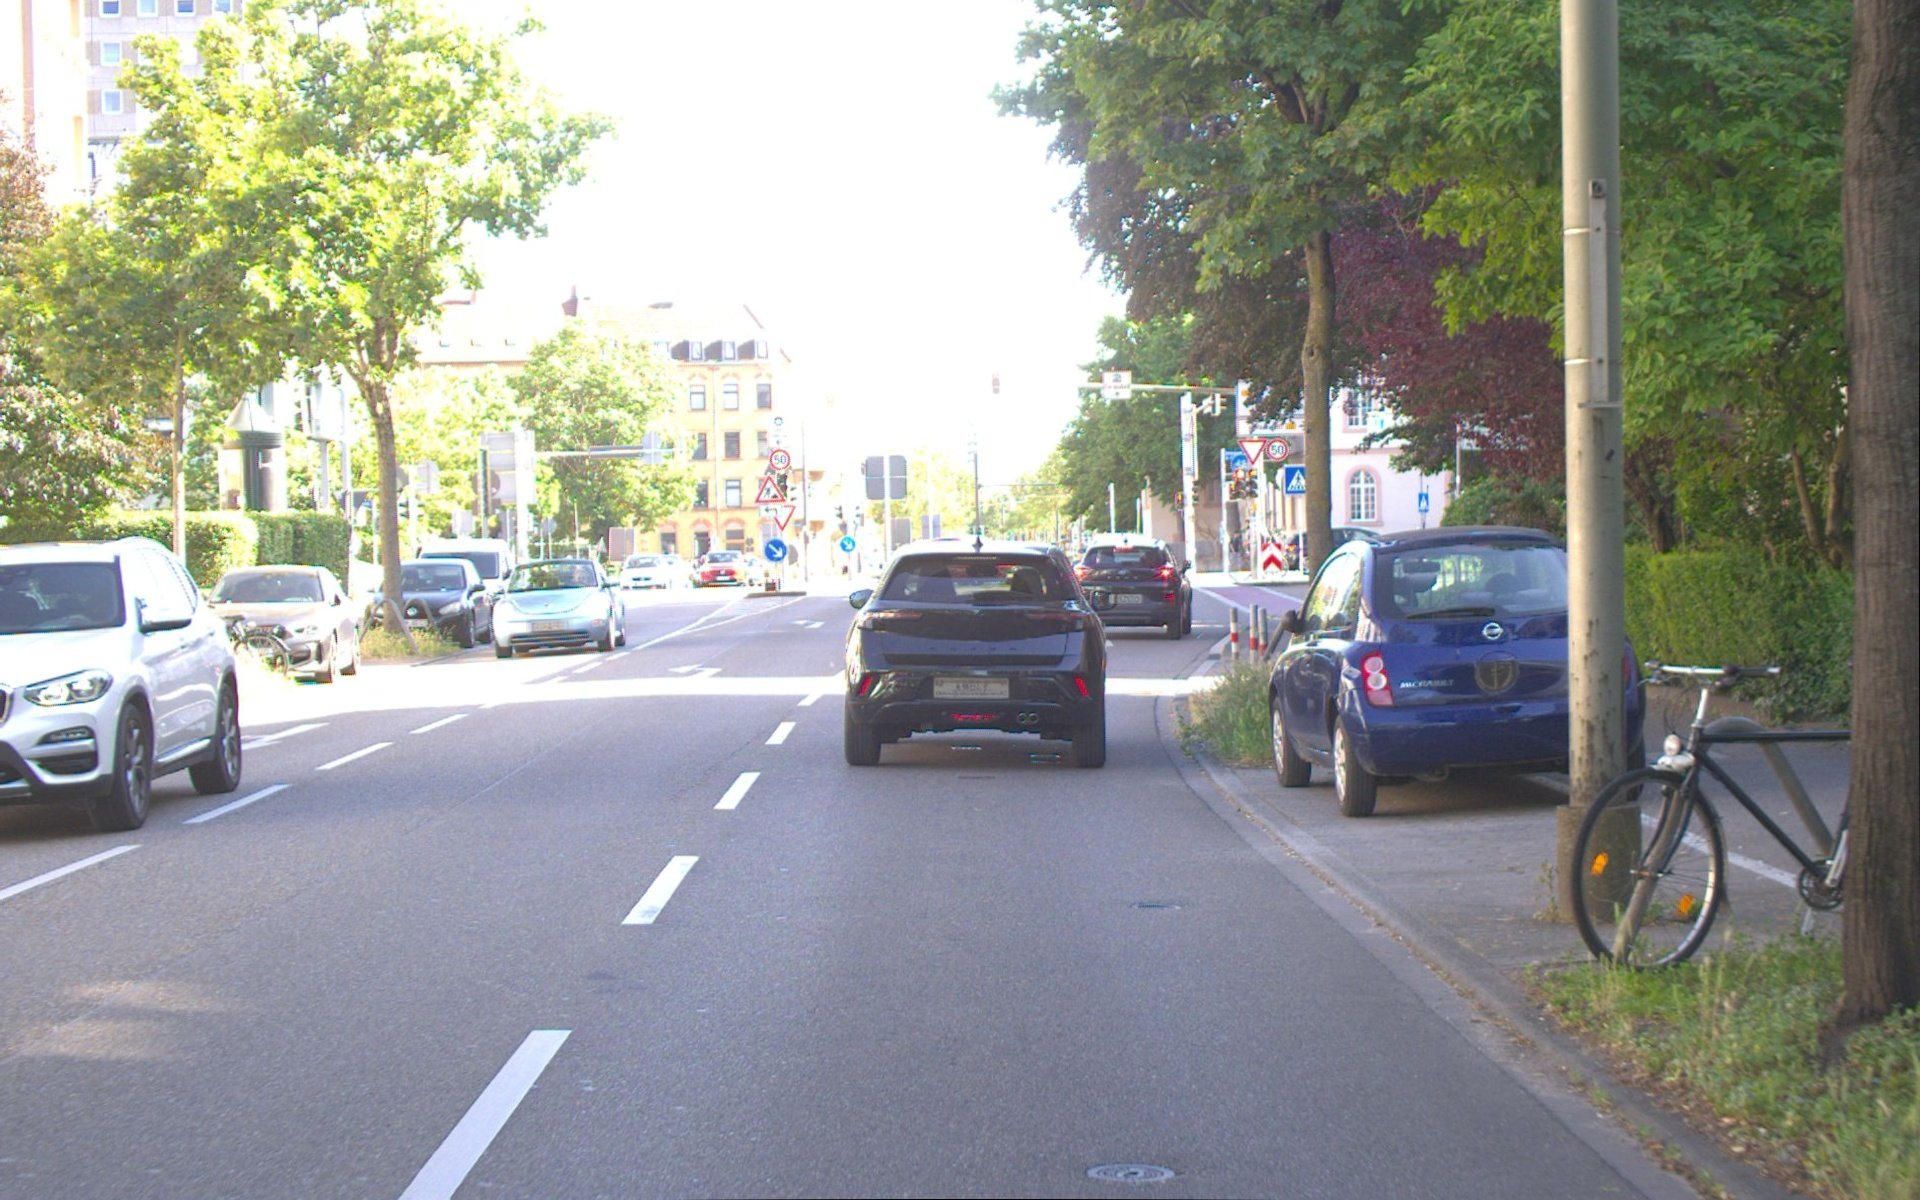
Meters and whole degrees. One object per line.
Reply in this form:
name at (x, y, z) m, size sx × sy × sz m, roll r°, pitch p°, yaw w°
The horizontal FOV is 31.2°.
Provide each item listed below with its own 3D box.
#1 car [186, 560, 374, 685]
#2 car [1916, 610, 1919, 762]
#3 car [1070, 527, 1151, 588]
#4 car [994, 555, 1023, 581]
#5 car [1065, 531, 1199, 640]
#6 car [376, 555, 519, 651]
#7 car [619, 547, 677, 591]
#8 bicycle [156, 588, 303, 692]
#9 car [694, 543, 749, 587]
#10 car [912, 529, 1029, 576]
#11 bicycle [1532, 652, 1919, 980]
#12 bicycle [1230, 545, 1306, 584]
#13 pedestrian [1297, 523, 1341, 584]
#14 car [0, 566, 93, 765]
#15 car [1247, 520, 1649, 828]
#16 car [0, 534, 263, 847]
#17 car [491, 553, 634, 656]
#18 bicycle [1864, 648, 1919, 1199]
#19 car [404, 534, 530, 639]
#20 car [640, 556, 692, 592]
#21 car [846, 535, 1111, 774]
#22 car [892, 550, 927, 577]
car at (-8.460, 0.243, 43.090) m, size 1.767 × 1.403 × 4.367 m, roll -1°, pitch 1°, yaw -4°
car at (2.522, 0.716, 4.114) m, size 1.612 × 1.379 × 3.976 m, roll -2°, pitch 1°, yaw 0°
car at (3.755, -1.092, 86.487) m, size 1.830 × 1.447 × 3.988 m, roll -1°, pitch 1°, yaw 0°
car at (3.191, -2.109, 225.001) m, size 1.861 × 1.654 × 4.000 m, roll 1°, pitch 1°, yaw 1°
car at (2.628, -0.257, 53.237) m, size 1.830 × 1.573 × 3.839 m, roll -2°, pitch 1°, yaw 0°
car at (-8.335, 0.018, 56.171) m, size 1.671 × 1.451 × 4.111 m, roll -1°, pitch 1°, yaw 0°
car at (-12.121, -1.205, 133.801) m, size 1.874 × 1.611 × 4.000 m, roll -2°, pitch 1°, yaw 0°
bicycle at (-8.455, 0.455, 39.815) m, size 1.543 × 1.130 × 0.548 m, roll -2°, pitch 1°, yaw -2°
car at (-9.123, -1.359, 131.839) m, size 1.791 × 1.611 × 4.000 m, roll -1°, pitch 1°, yaw 0°
car at (0.331, -1.536, 111.842) m, size 1.772 × 1.447 × 3.884 m, roll -2°, pitch 1°, yaw -38°
bicycle at (2.843, 0.706, 11.553) m, size 1.740 × 1.018 × 0.524 m, roll -3°, pitch -2°, yaw 7°
bicycle at (8.653, -1.007, 96.642) m, size 2.031 × 1.057 × 0.622 m, roll -1°, pitch 1°, yaw -18°
pedestrian at (9.922, -1.297, 95.033) m, size 1.040 × 1.654 × 0.784 m, roll -2°, pitch 1°, yaw -3°
car at (-8.362, 0.527, 27.537) m, size 1.785 × 1.488 × 4.494 m, roll -1°, pitch 1°, yaw -2°
car at (2.698, 0.355, 19.743) m, size 1.559 × 1.510 × 3.655 m, roll -3°, pitch 1°, yaw -2°
car at (-5.578, 0.483, 20.750) m, size 1.806 × 1.642 × 4.673 m, roll -4°, pitch 1°, yaw -1°
car at (-5.945, 0.039, 51.808) m, size 1.737 × 1.377 × 3.937 m, roll -3°, pitch 1°, yaw -2°
bicycle at (2.790, 0.703, 7.886) m, size 1.663 × 1.232 × 0.471 m, roll -2°, pitch 1°, yaw -39°
car at (-9.008, -0.280, 63.116) m, size 1.818 × 1.827 × 4.563 m, roll -1°, pitch 1°, yaw -2°
car at (-12.584, -1.129, 147.343) m, size 1.874 × 1.443 × 4.000 m, roll -2°, pitch 1°, yaw 0°
car at (0.096, 0.332, 24.357) m, size 1.745 × 1.568 × 3.558 m, roll 0°, pitch 1°, yaw -1°
car at (-2.821, -2.062, 192.011) m, size 1.810 × 1.402 × 4.000 m, roll -1°, pitch 1°, yaw 1°
